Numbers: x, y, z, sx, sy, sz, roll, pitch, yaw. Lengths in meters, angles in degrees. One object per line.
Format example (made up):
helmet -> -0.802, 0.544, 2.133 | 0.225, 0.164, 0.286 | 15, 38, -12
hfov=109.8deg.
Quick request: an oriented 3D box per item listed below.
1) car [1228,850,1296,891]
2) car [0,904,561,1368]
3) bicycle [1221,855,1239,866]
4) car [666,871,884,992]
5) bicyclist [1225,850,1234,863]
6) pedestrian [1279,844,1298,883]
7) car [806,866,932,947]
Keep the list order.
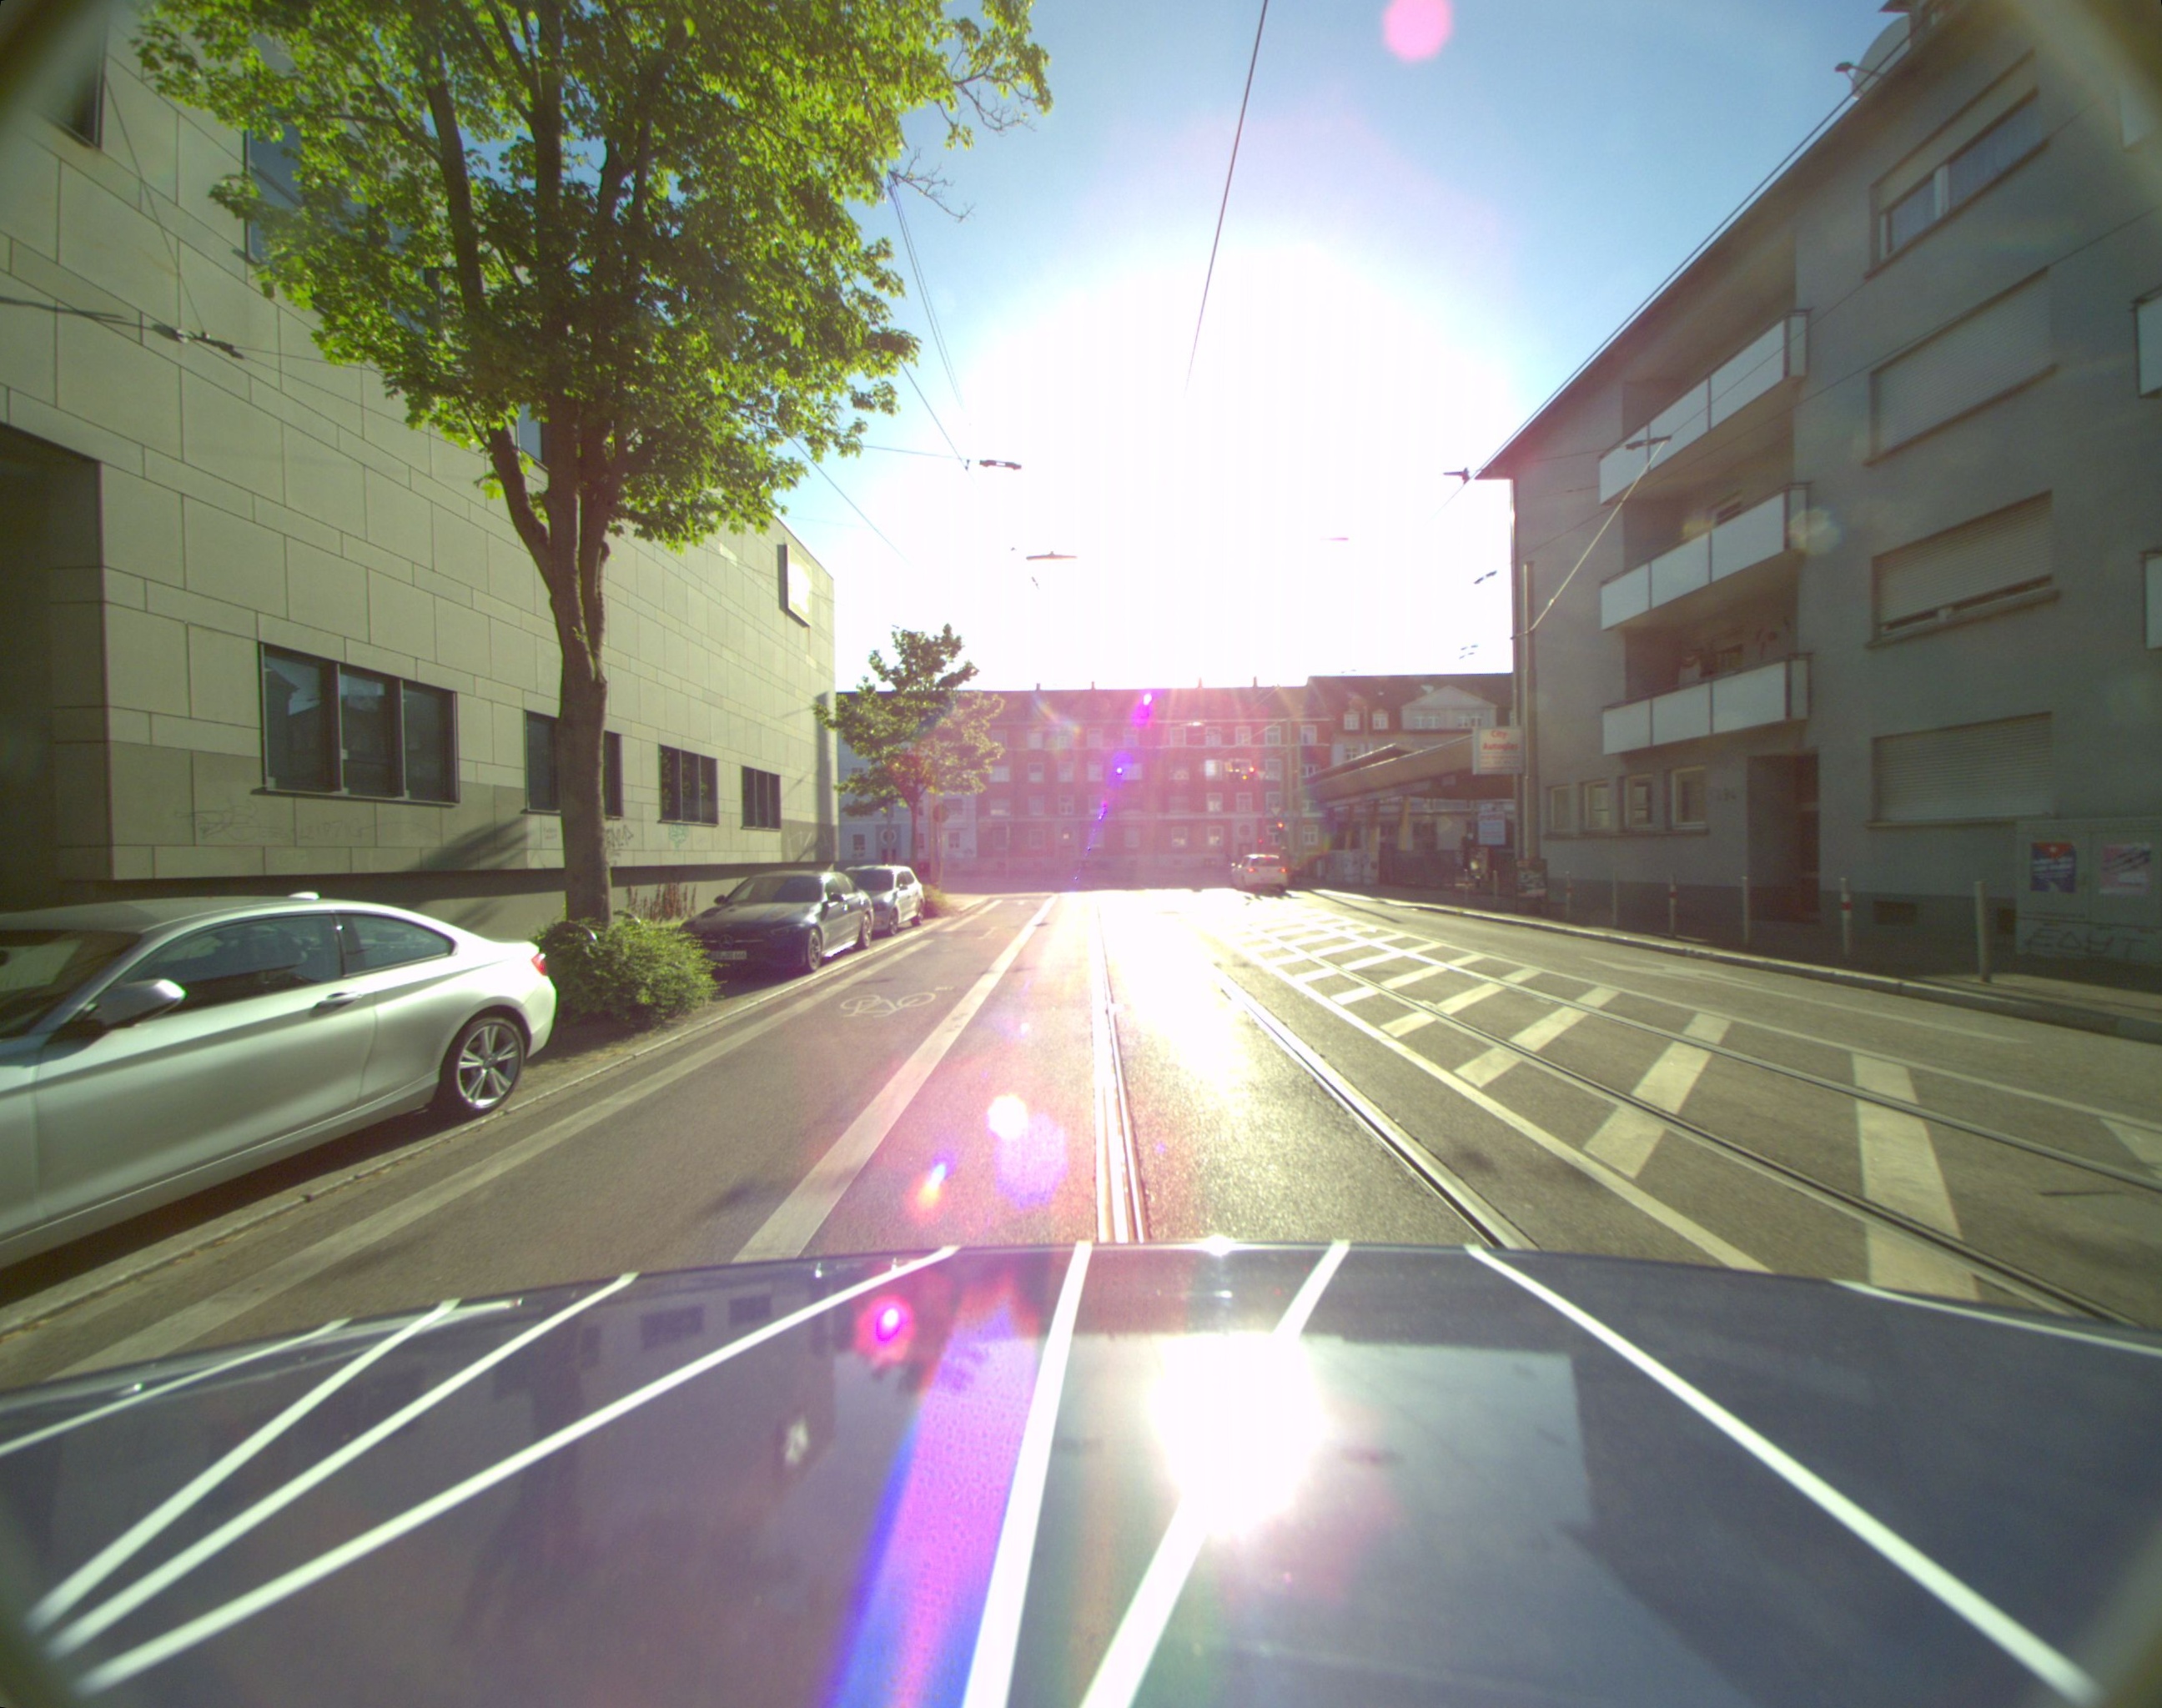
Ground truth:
car -> 7.479, 0.635, 31.761 | 1.923, 1.516, 3.999 | -2, 1, 1
car -> -4.638, 1.090, 3.319 | 1.713, 1.400, 4.328 | 0, 1, 1
bicycle -> 13.982, 0.602, 71.479 | 0.555, 0.943, 1.673 | -3, 1, -36
car -> -4.576, 1.065, 12.207 | 1.682, 1.400, 4.660 | 0, 1, -1
bicyclist -> 13.967, 0.237, 71.480 | 0.555, 1.217, 0.667 | -3, 2, -36
pedestrian -> 9.588, 0.444, 35.103 | 0.640, 1.764, 0.583 | -2, 1, 1
car -> -4.705, 1.094, 17.447 | 1.654, 1.471, 3.999 | -2, 1, 1
